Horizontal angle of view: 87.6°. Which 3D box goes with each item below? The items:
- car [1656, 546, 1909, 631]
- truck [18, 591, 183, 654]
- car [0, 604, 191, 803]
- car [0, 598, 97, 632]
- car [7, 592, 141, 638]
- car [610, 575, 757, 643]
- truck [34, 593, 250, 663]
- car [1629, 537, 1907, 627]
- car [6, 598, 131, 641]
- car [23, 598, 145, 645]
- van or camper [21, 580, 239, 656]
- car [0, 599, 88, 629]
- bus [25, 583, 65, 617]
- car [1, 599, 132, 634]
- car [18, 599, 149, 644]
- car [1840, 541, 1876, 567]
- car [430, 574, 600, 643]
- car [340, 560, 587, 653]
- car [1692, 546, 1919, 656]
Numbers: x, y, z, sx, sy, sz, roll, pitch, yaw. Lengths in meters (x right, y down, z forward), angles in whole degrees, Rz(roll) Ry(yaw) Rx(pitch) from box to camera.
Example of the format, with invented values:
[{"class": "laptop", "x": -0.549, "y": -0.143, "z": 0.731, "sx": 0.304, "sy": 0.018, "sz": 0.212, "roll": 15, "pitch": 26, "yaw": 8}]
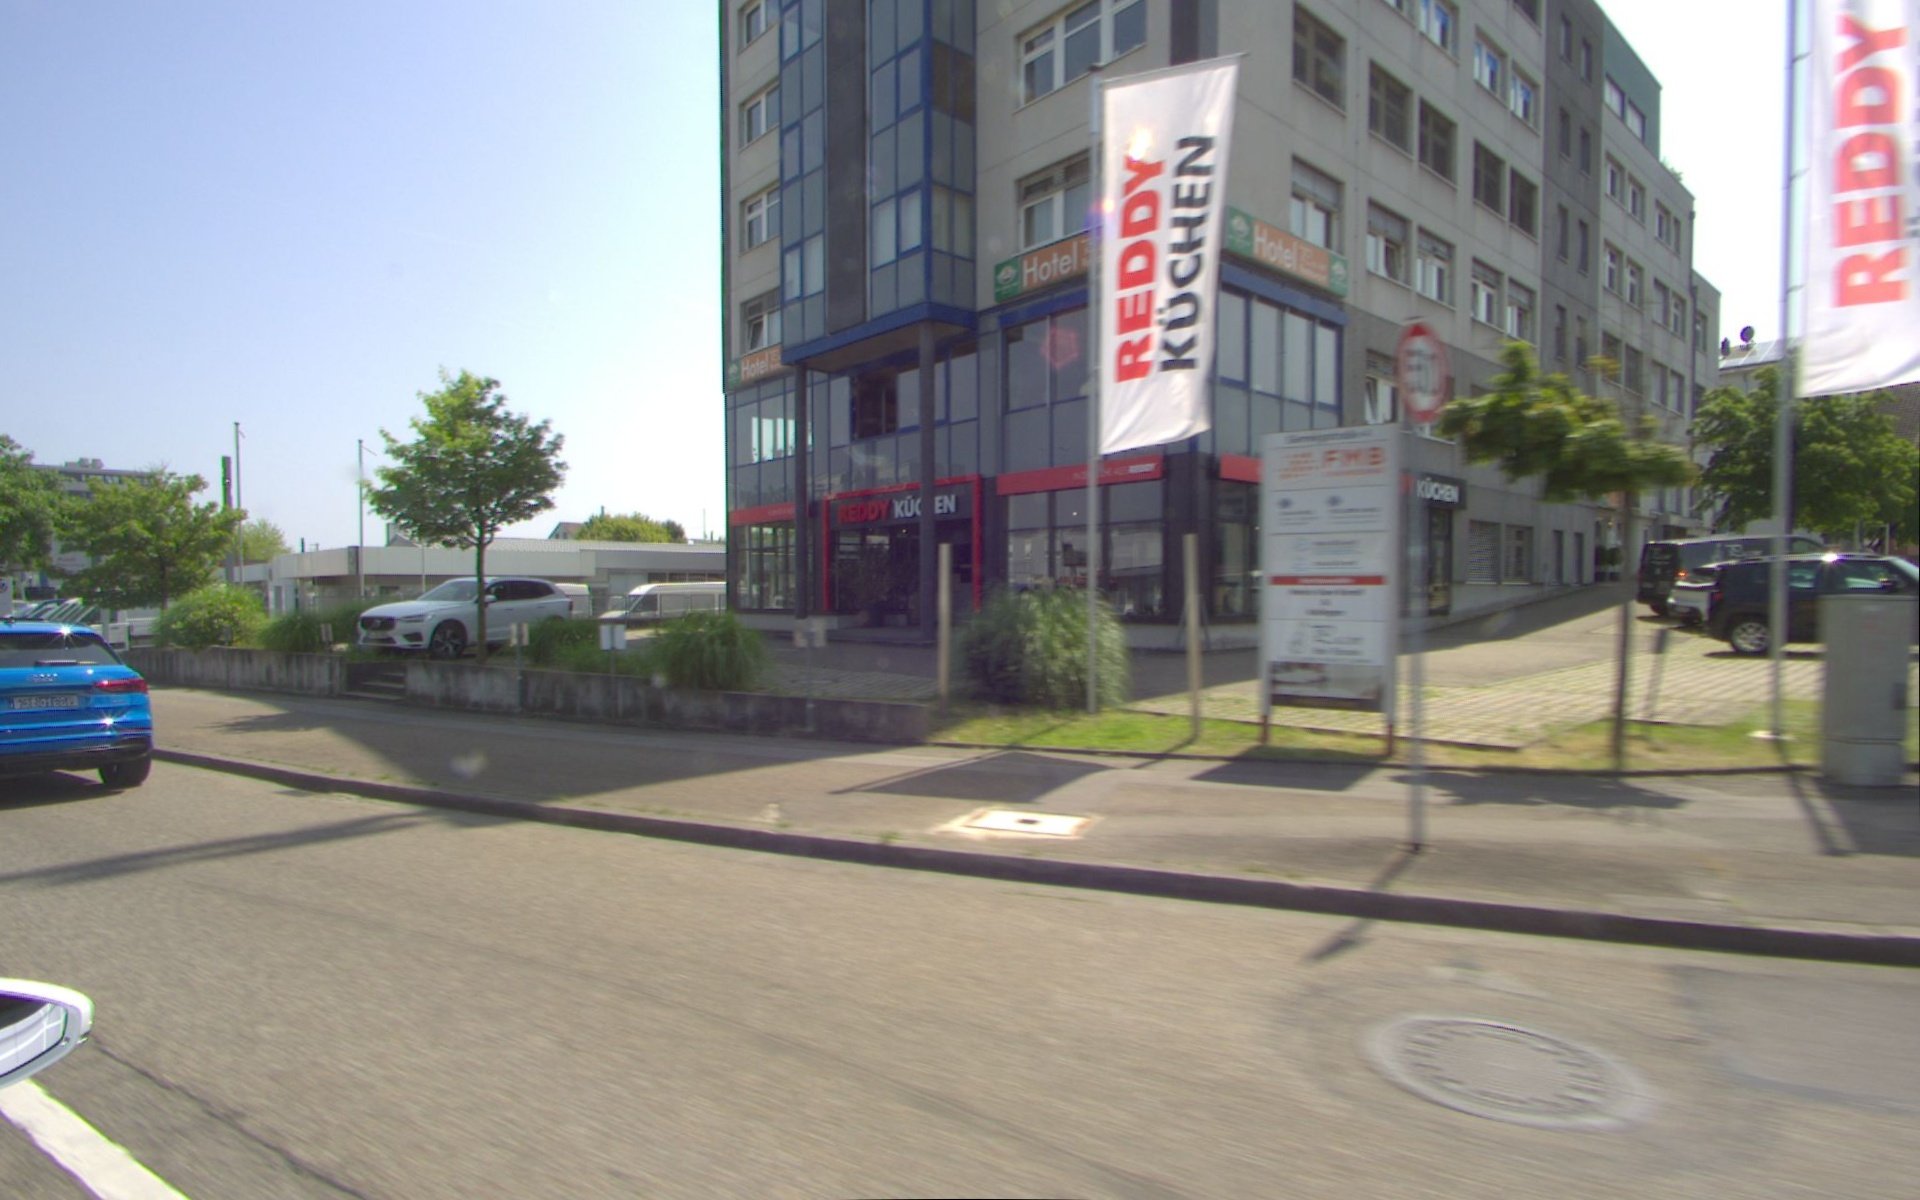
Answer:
[{"class": "car", "x": 18.127, "y": -0.237, "z": 22.221, "sx": 4.144, "sy": 1.552, "sz": 1.543, "roll": -4, "pitch": 0, "yaw": 5}, {"class": "truck", "x": -36.968, "y": 0.890, "z": 43.194, "sx": 5.212, "sy": 2.469, "sz": 2.090, "roll": -2, "pitch": 2, "yaw": -45}, {"class": "car", "x": -9.433, "y": 0.864, "z": 9.685, "sx": 4.335, "sy": 1.618, "sz": 1.908, "roll": 0, "pitch": -1, "yaw": 34}, {"class": "car", "x": -60.076, "y": 0.961, "z": 65.985, "sx": 1.938, "sy": 2.041, "sz": 4.614, "roll": 1, "pitch": 3, "yaw": 42}, {"class": "car", "x": -51.894, "y": 0.925, "z": 58.784, "sx": 5.805, "sy": 2.556, "sz": 2.184, "roll": 1, "pitch": -2, "yaw": -44}, {"class": "car", "x": -12.141, "y": 0.462, "z": 44.335, "sx": 6.079, "sy": 2.845, "sz": 1.980, "roll": 1, "pitch": -2, "yaw": -45}, {"class": "truck", "x": -31.316, "y": 0.965, "z": 38.535, "sx": 2.344, "sy": 2.369, "sz": 6.204, "roll": 1, "pitch": 2, "yaw": 45}, {"class": "car", "x": 19.691, "y": -0.401, "z": 24.601, "sx": 5.091, "sy": 2.062, "sz": 1.892, "roll": 0, "pitch": -2, "yaw": 5}, {"class": "car", "x": -48.703, "y": 1.014, "z": 54.785, "sx": 2.106, "sy": 2.144, "sz": 4.870, "roll": 1, "pitch": 2, "yaw": 43}, {"class": "car", "x": -44.666, "y": 1.074, "z": 51.113, "sx": 2.176, "sy": 2.041, "sz": 4.479, "roll": -1, "pitch": 2, "yaw": 45}, {"class": "van or camper", "x": -34.431, "y": 0.664, "z": 41.784, "sx": 2.250, "sy": 2.937, "sz": 6.757, "roll": 1, "pitch": 1, "yaw": 43}, {"class": "car", "x": -60.032, "y": 0.888, "z": 65.630, "sx": 1.862, "sy": 1.804, "sz": 4.126, "roll": -2, "pitch": 0, "yaw": 43}, {"class": "bus", "x": -91.903, "y": -0.050, "z": 100.687, "sx": 2.784, "sy": 3.120, "sz": 12.168, "roll": 0, "pitch": 1, "yaw": -42}, {"class": "car", "x": -54.044, "y": 1.010, "z": 60.668, "sx": 2.236, "sy": 2.040, "sz": 5.858, "roll": 0, "pitch": -1, "yaw": 45}, {"class": "car", "x": -46.662, "y": 1.103, "z": 53.420, "sx": 2.018, "sy": 2.125, "sz": 5.033, "roll": 0, "pitch": 2, "yaw": 43}, {"class": "car", "x": 64.514, "y": -3.307, "z": 71.968, "sx": 1.703, "sy": 1.528, "sz": 3.923, "roll": -2, "pitch": -2, "yaw": 39}, {"class": "car", "x": -17.619, "y": 0.387, "z": 39.888, "sx": 5.847, "sy": 2.560, "sz": 2.100, "roll": 1, "pitch": -2, "yaw": -44}, {"class": "car", "x": -10.325, "y": 0.217, "z": 21.312, "sx": 1.965, "sy": 1.735, "sz": 4.734, "roll": -1, "pitch": -2, "yaw": 19}, {"class": "car", "x": 14.816, "y": 0.030, "z": 16.470, "sx": 1.528, "sy": 1.697, "sz": 4.288, "roll": 0, "pitch": -1, "yaw": -43}]
